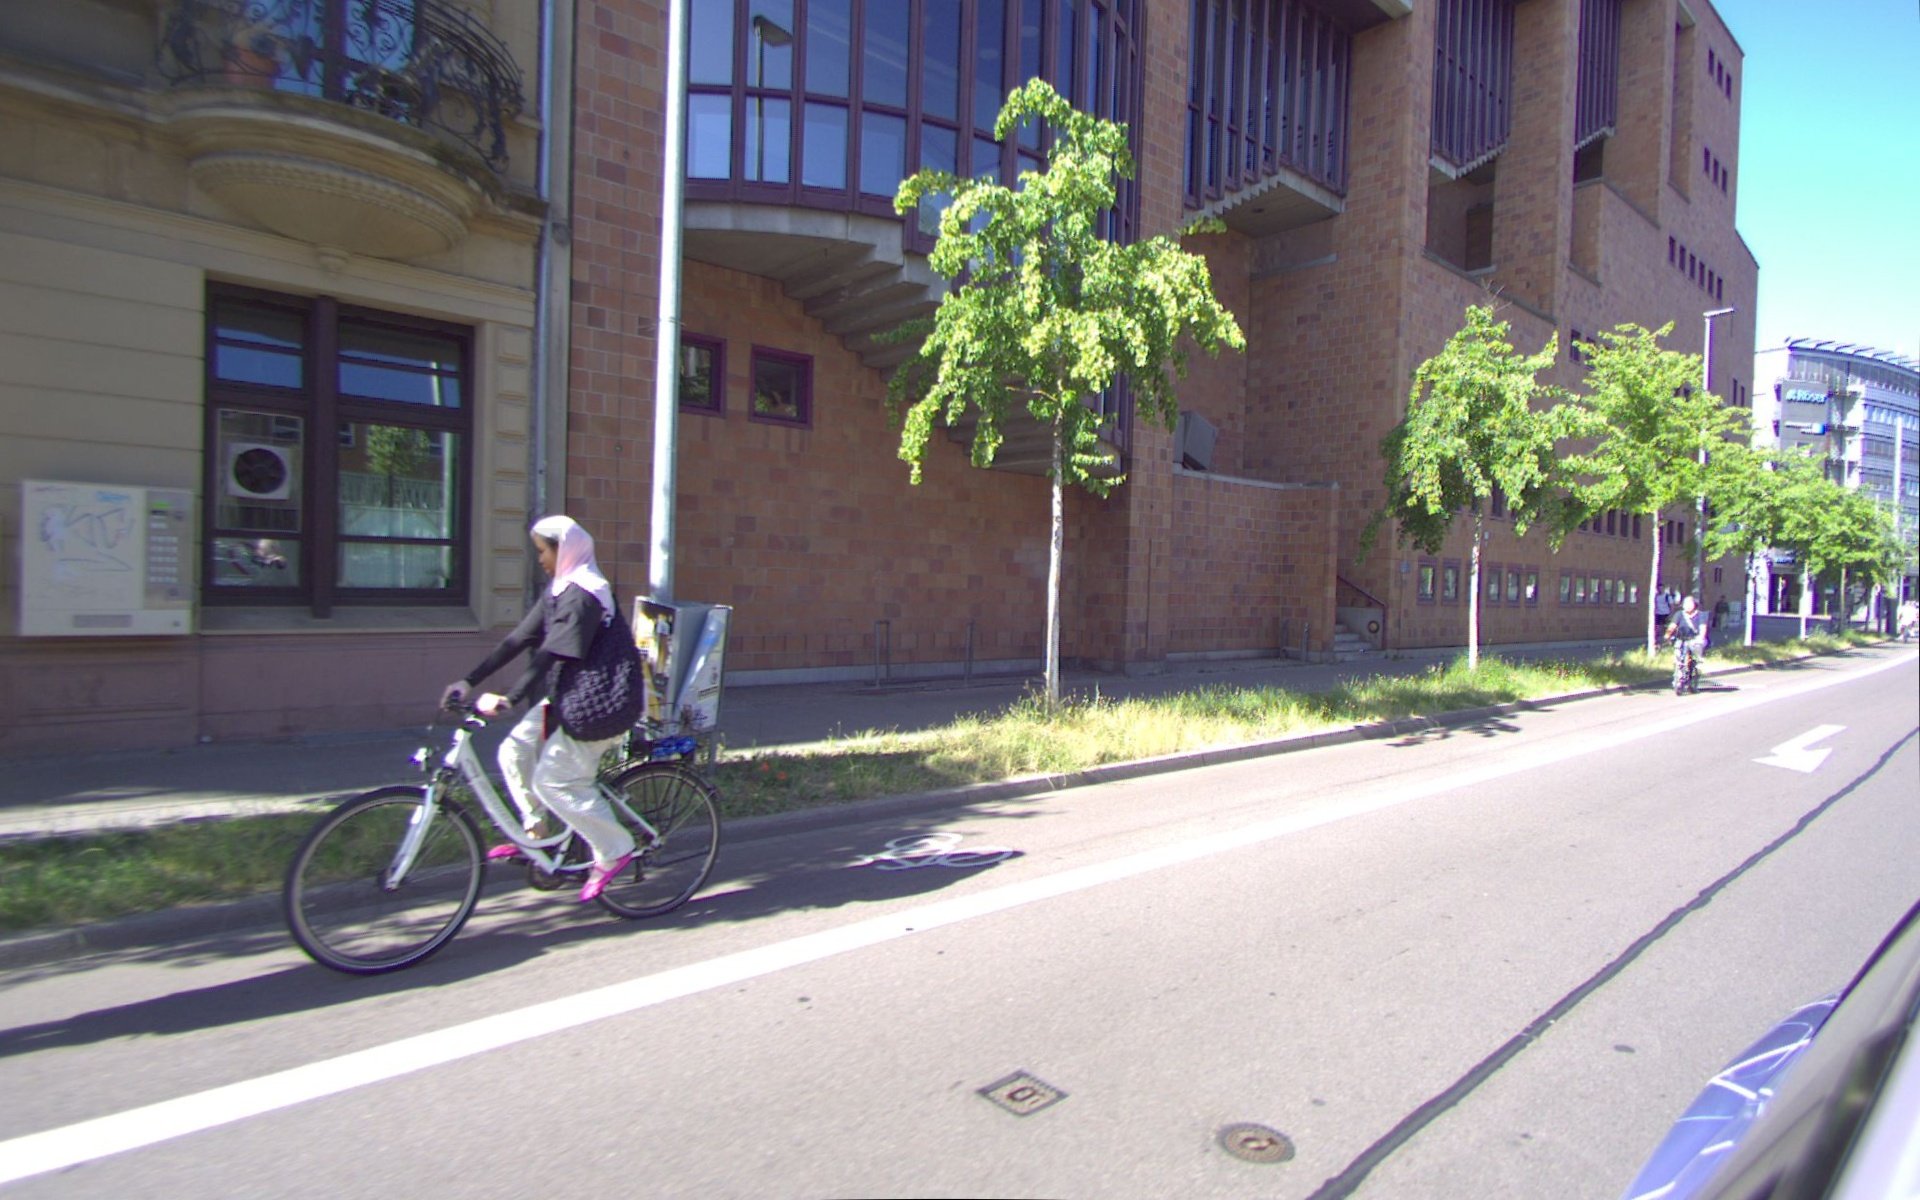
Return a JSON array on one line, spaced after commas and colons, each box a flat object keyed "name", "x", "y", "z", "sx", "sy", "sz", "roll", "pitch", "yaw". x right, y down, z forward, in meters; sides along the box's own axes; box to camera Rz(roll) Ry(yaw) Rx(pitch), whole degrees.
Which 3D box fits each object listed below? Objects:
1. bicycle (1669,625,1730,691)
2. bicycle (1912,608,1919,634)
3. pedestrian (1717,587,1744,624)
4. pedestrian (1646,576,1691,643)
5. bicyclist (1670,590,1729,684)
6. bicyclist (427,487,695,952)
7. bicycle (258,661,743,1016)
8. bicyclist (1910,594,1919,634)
[{"name": "bicycle", "x": 12.666, "y": 0.972, "z": 17.320, "sx": 1.481, "sy": 1.040, "sz": 0.558, "roll": 0, "pitch": 0, "yaw": -42}, {"name": "bicycle", "x": 42.372, "y": 0.933, "z": 44.505, "sx": 1.480, "sy": 1.110, "sz": 0.578, "roll": 0, "pitch": 0, "yaw": -40}, {"name": "pedestrian", "x": 35.465, "y": 0.242, "z": 46.575, "sx": 0.960, "sy": 1.639, "sz": 0.789, "roll": 0, "pitch": 2, "yaw": -44}, {"name": "pedestrian", "x": 20.919, "y": 0.260, "z": 29.882, "sx": 1.087, "sy": 1.906, "sz": 0.789, "roll": 0, "pitch": 2, "yaw": -41}, {"name": "bicyclist", "x": 12.686, "y": 0.620, "z": 17.358, "sx": 0.893, "sy": 1.557, "sz": 0.658, "roll": 1, "pitch": -1, "yaw": -42}, {"name": "bicyclist", "x": -1.715, "y": 0.442, "z": 4.354, "sx": 0.853, "sy": 1.733, "sz": 0.780, "roll": 1, "pitch": -1, "yaw": -42}, {"name": "bicycle", "x": -1.827, "y": 0.853, "z": 4.228, "sx": 1.761, "sy": 1.106, "sz": 0.558, "roll": 0, "pitch": 0, "yaw": -42}, {"name": "bicyclist", "x": 42.232, "y": 0.602, "z": 44.408, "sx": 0.892, "sy": 1.750, "sz": 0.684, "roll": 1, "pitch": -1, "yaw": -38}]
